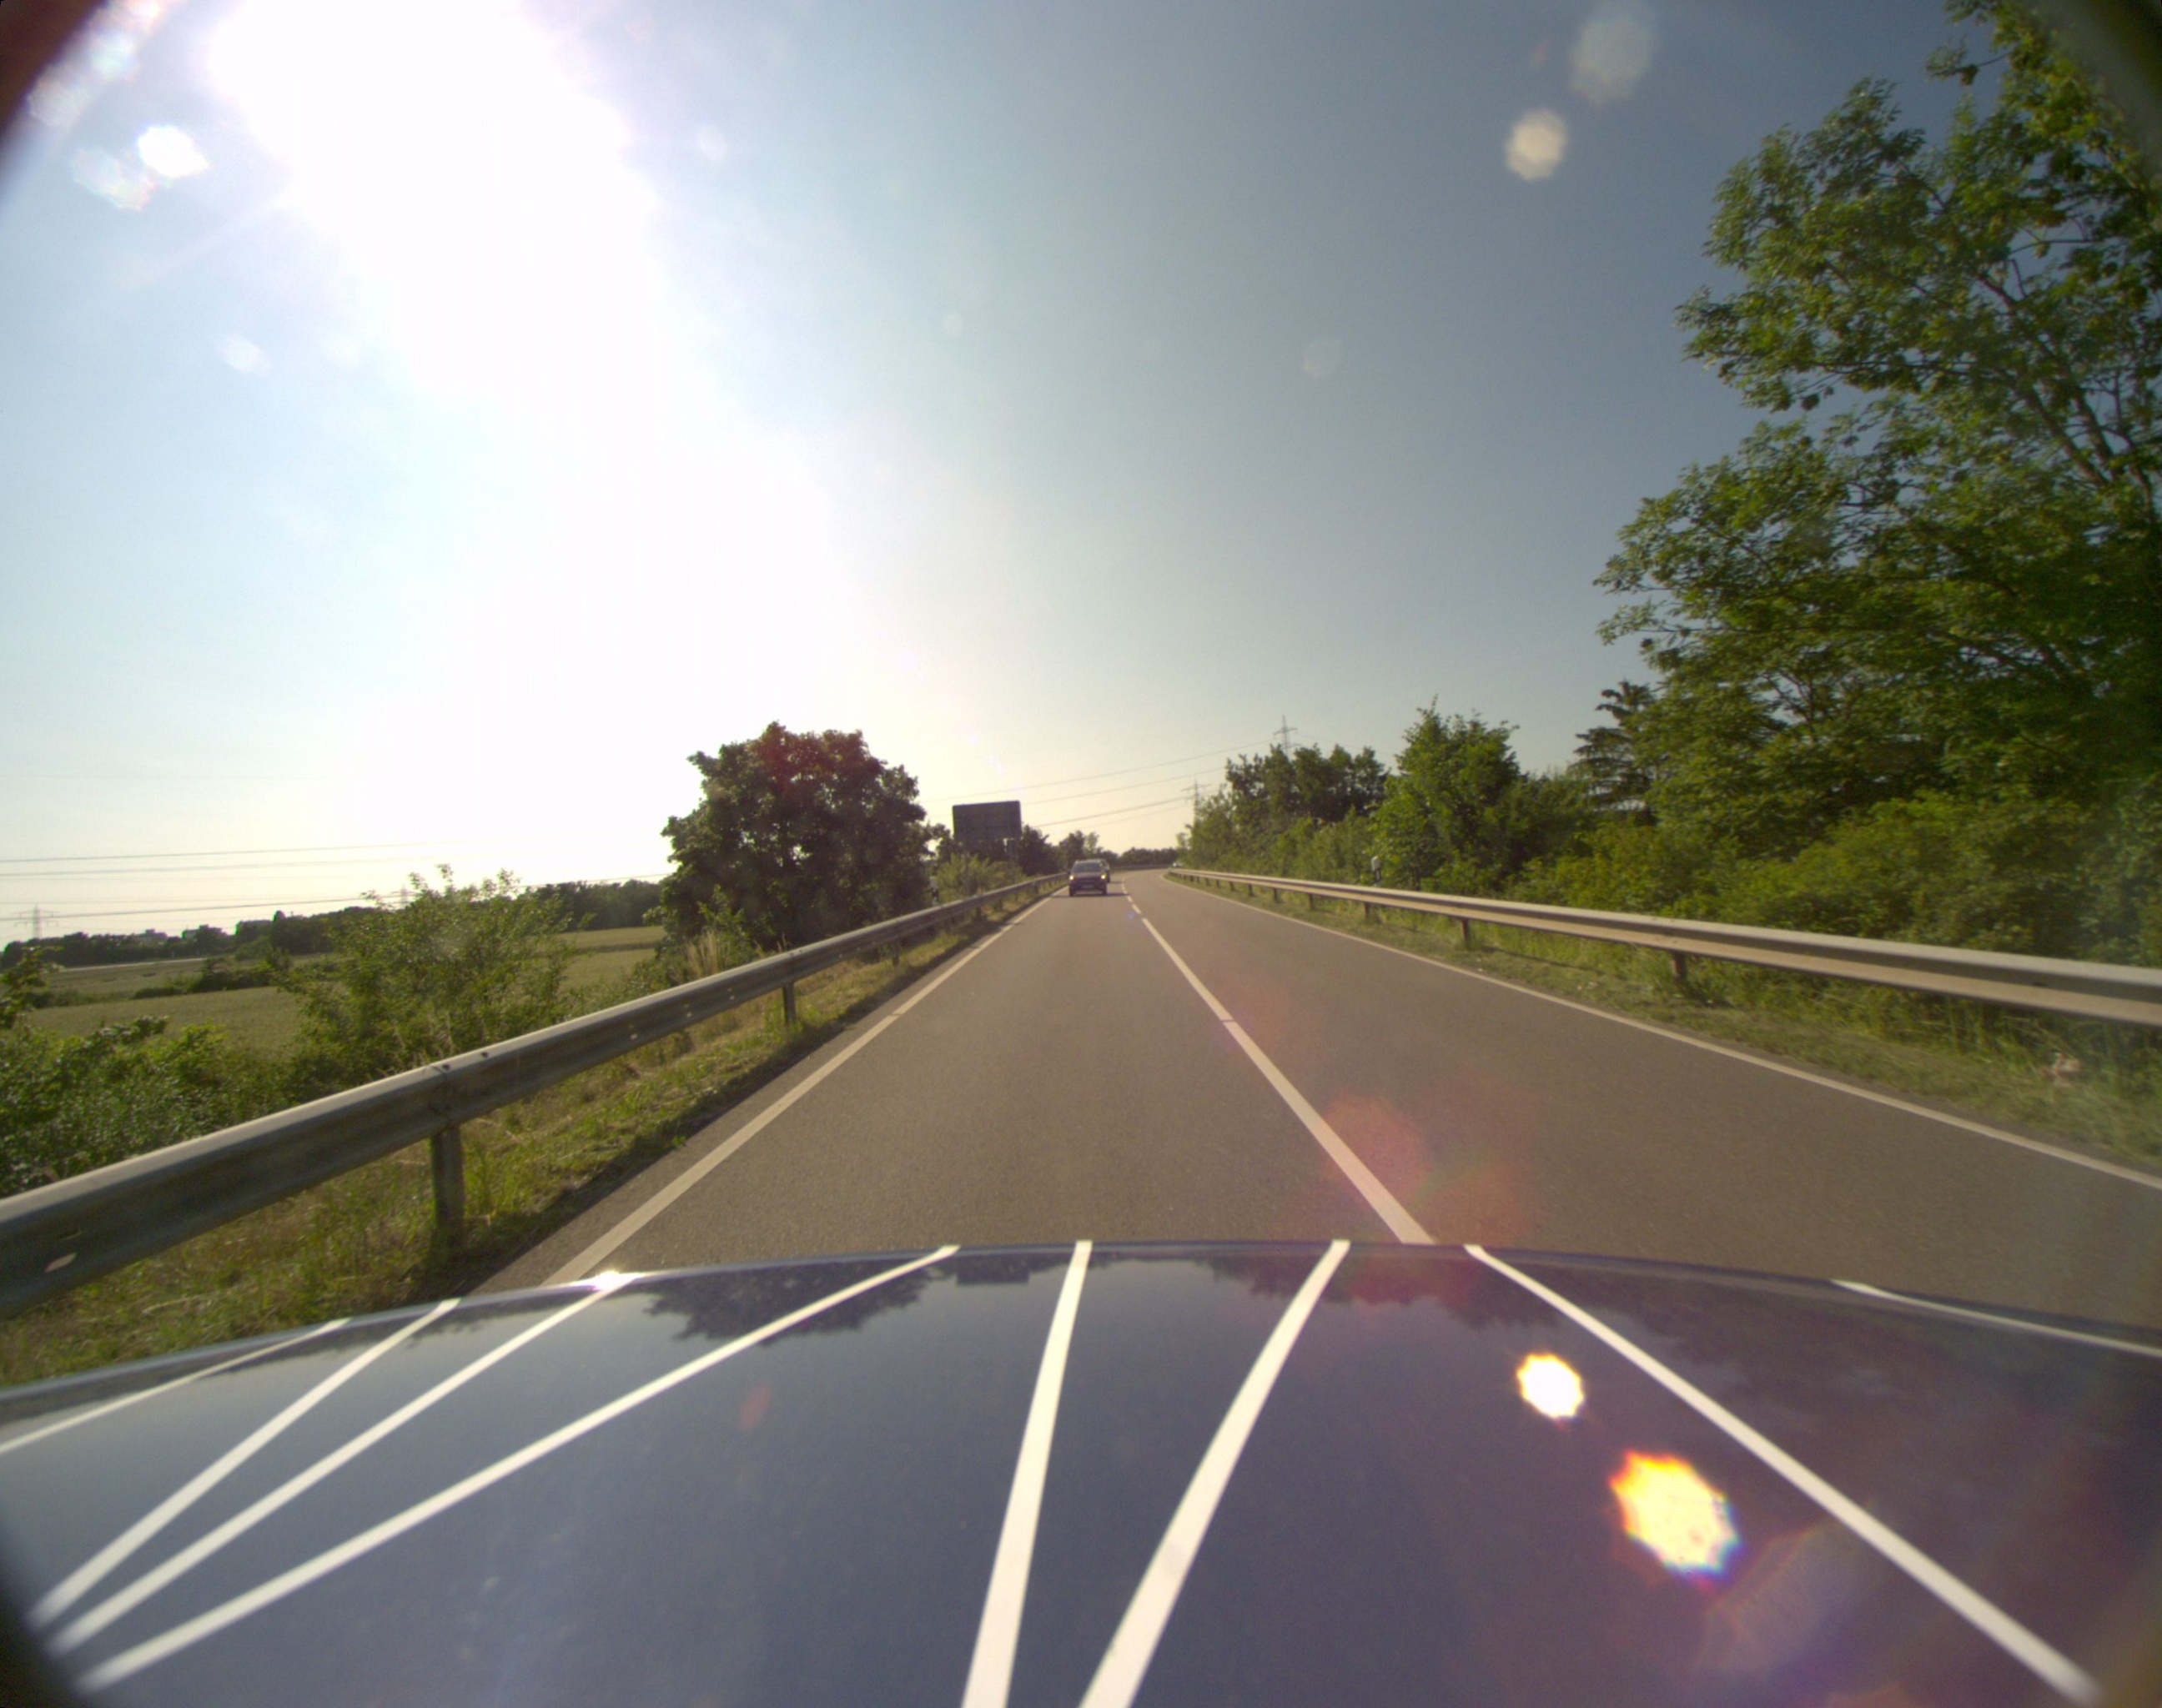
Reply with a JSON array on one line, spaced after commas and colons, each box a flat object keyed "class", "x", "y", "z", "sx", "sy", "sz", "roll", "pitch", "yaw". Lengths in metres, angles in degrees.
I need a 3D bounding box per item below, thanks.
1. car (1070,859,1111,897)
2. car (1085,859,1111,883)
[{"class": "car", "x": 0.439, "y": 1.019, "z": 33.744, "sx": 1.607, "sy": 1.486, "sz": 4.000, "roll": -3, "pitch": 0, "yaw": 1}, {"class": "car", "x": 1.267, "y": 1.174, "z": 53.871, "sx": 1.606, "sy": 1.486, "sz": 4.001, "roll": -3, "pitch": 0, "yaw": 4}]
